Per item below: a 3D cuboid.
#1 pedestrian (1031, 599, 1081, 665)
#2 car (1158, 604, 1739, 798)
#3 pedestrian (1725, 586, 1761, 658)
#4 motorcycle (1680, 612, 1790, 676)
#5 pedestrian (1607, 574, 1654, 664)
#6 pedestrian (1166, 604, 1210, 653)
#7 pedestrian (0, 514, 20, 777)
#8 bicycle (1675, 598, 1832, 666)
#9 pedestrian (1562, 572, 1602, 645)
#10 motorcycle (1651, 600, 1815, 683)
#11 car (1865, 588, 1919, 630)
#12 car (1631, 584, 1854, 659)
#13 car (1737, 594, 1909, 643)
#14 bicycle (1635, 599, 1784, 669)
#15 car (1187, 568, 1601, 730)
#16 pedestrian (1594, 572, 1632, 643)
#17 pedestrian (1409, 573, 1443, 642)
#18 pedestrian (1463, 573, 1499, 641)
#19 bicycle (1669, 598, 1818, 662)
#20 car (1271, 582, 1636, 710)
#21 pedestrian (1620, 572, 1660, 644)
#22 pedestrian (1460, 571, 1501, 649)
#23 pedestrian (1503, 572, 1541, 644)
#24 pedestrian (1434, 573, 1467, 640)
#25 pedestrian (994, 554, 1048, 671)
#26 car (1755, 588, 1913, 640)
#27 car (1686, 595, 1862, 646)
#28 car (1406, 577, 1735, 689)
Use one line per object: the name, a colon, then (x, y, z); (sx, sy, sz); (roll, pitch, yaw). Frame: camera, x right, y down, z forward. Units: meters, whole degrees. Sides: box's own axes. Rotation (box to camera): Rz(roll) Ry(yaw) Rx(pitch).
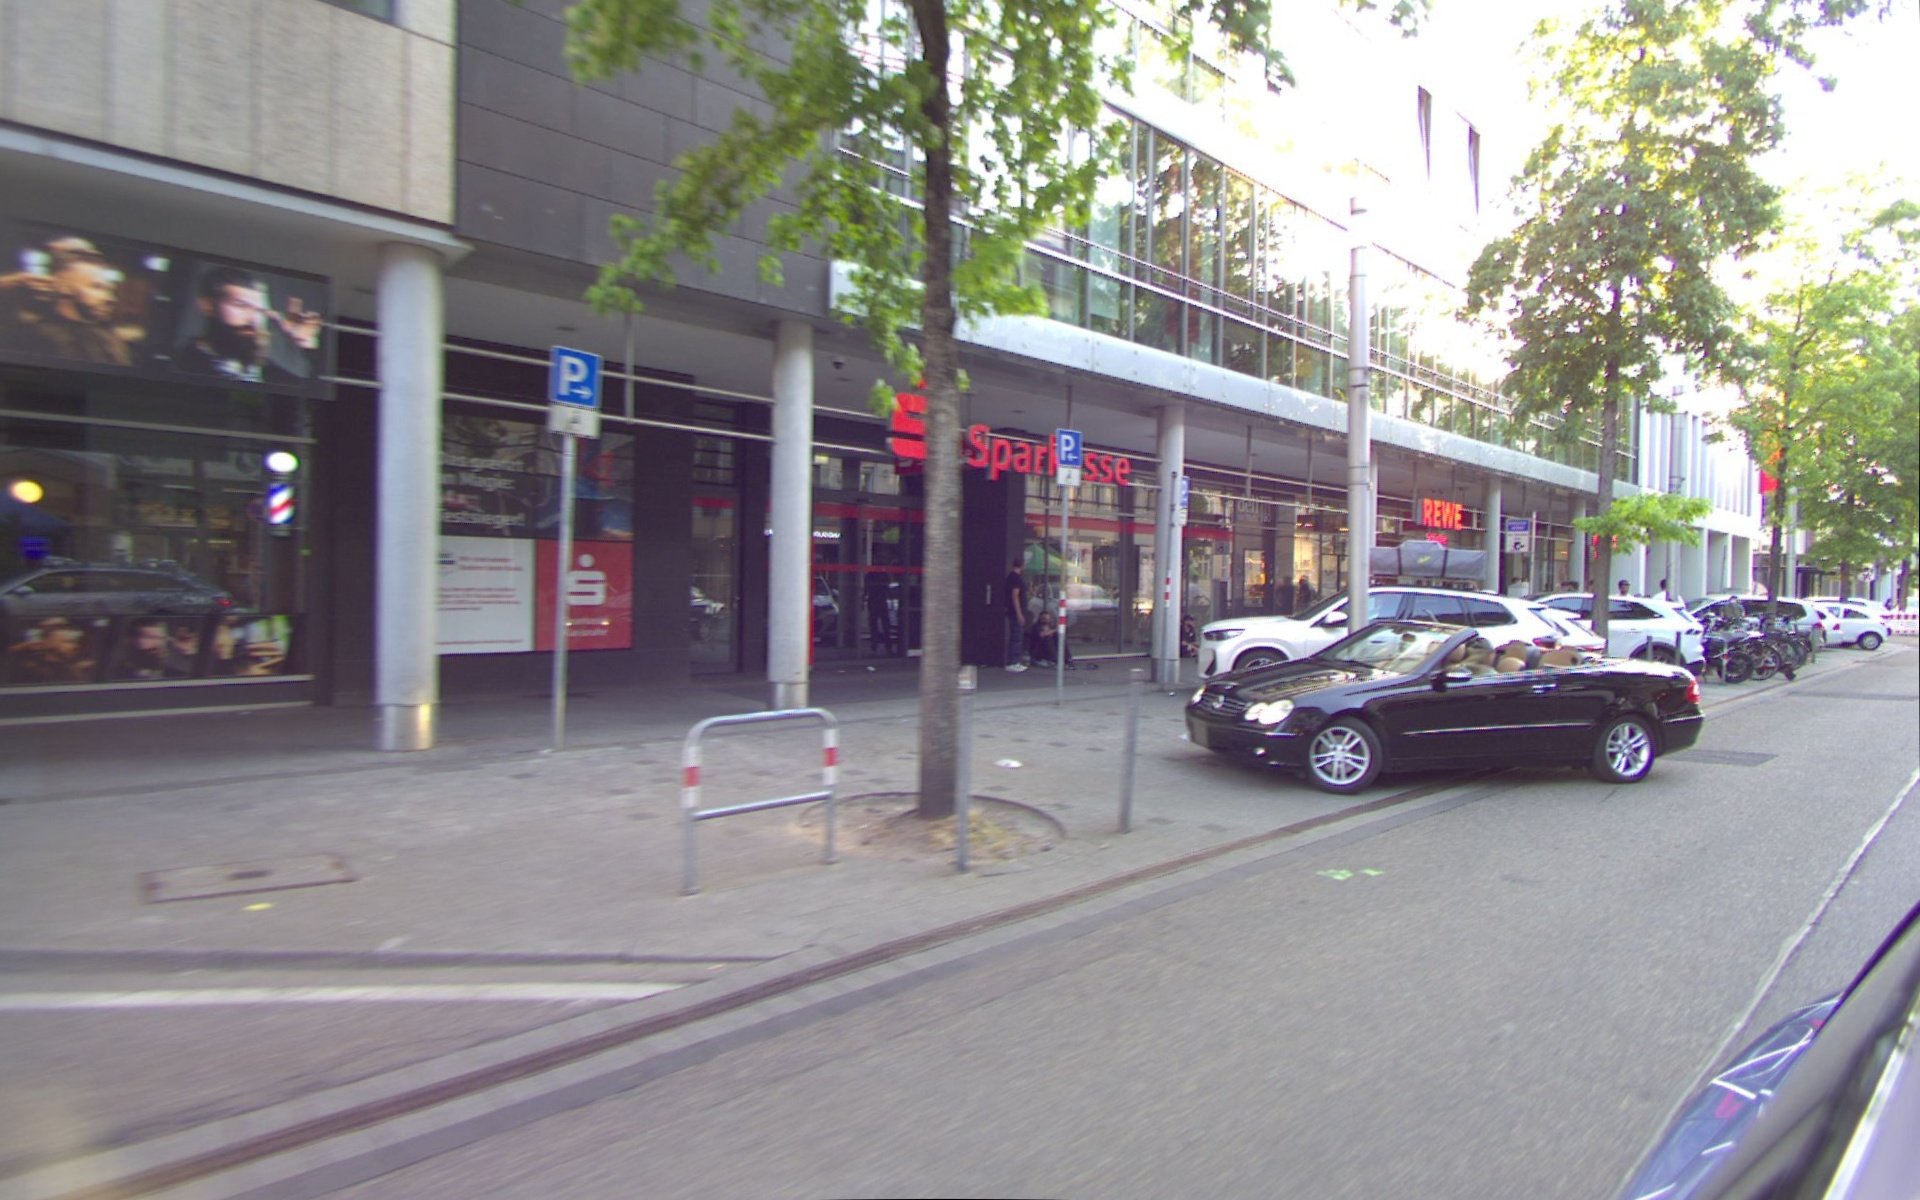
pedestrian: (1.601, 0.525, 16.859); (0.625, 1.048, 0.550); (2, 2, 40)
car: (4.217, 0.762, 8.963); (4.470, 1.426, 1.803); (0, 0, -13)
pedestrian: (19.061, 0.527, 24.642); (0.616, 1.712, 0.618); (1, 1, 44)
motorcycle: (15.262, 0.858, 19.972); (1.554, 1.113, 0.624); (3, 2, 24)
pedestrian: (13.924, 0.384, 21.017); (0.617, 1.822, 0.617); (0, 2, -41)
pedestrian: (4.414, 0.542, 19.585); (0.548, 0.892, 0.627); (0, 2, -42)
pedestrian: (-6.550, 0.280, 6.494); (0.728, 1.664, 0.749); (0, 2, -42)
bicycle: (17.848, 0.726, 22.849); (2.642, 1.475, 0.724); (-1, -1, 22)
pedestrian: (14.790, 0.191, 24.068); (0.617, 1.712, 0.617); (0, 2, -41)
motorcycle: (14.330, 0.746, 18.813); (2.071, 1.370, 1.157); (2, 2, 0)
car: (42.774, 0.374, 44.782); (3.919, 1.809, 1.867); (-1, -1, -7)
car: (21.202, 0.599, 27.611); (4.397, 1.904, 1.794); (-1, -1, 12)
car: (29.001, 0.636, 34.161); (3.948, 1.530, 1.853); (-1, -1, 19)
bicycle: (16.241, 0.742, 22.004); (2.461, 1.475, 0.652); (-1, -1, 24)
car: (5.380, 0.538, 13.176); (4.574, 1.650, 1.908); (3, 1, 17)
pedestrian: (16.024, 0.178, 24.833); (0.617, 1.712, 0.617); (0, 2, -41)
pedestrian: (11.748, 0.171, 25.518); (0.617, 1.712, 0.557); (0, 2, -41)
pedestrian: (13.379, 0.163, 25.990); (0.617, 1.712, 0.617); (0, 2, -41)
bicycle: (18.405, 0.711, 23.866); (2.643, 1.475, 0.671); (-1, -1, 23)
car: (7.151, 0.584, 15.182); (4.583, 1.457, 1.905); (3, 2, 22)
pedestrian: (16.462, 0.182, 24.500); (0.617, 1.712, 0.617); (0, 2, -41)
pedestrian: (11.784, 0.210, 22.904); (0.617, 1.712, 0.617); (0, 2, -41)
pedestrian: (13.777, 0.181, 24.816); (0.617, 1.712, 0.617); (0, 2, -41)
pedestrian: (12.878, 0.155, 26.574); (0.617, 1.712, 0.557); (0, 2, -41)
pedestrian: (0.972, 0.184, 16.023); (0.617, 1.794, 0.557); (0, 2, -41)
car: (32.245, 0.534, 37.488); (3.957, 1.809, 1.849); (-2, -1, 25)
car: (25.920, 0.664, 32.392); (3.948, 1.530, 1.789); (-1, -1, 19)
car: (10.661, 0.508, 18.084); (4.570, 1.607, 1.910); (3, 2, 14)
